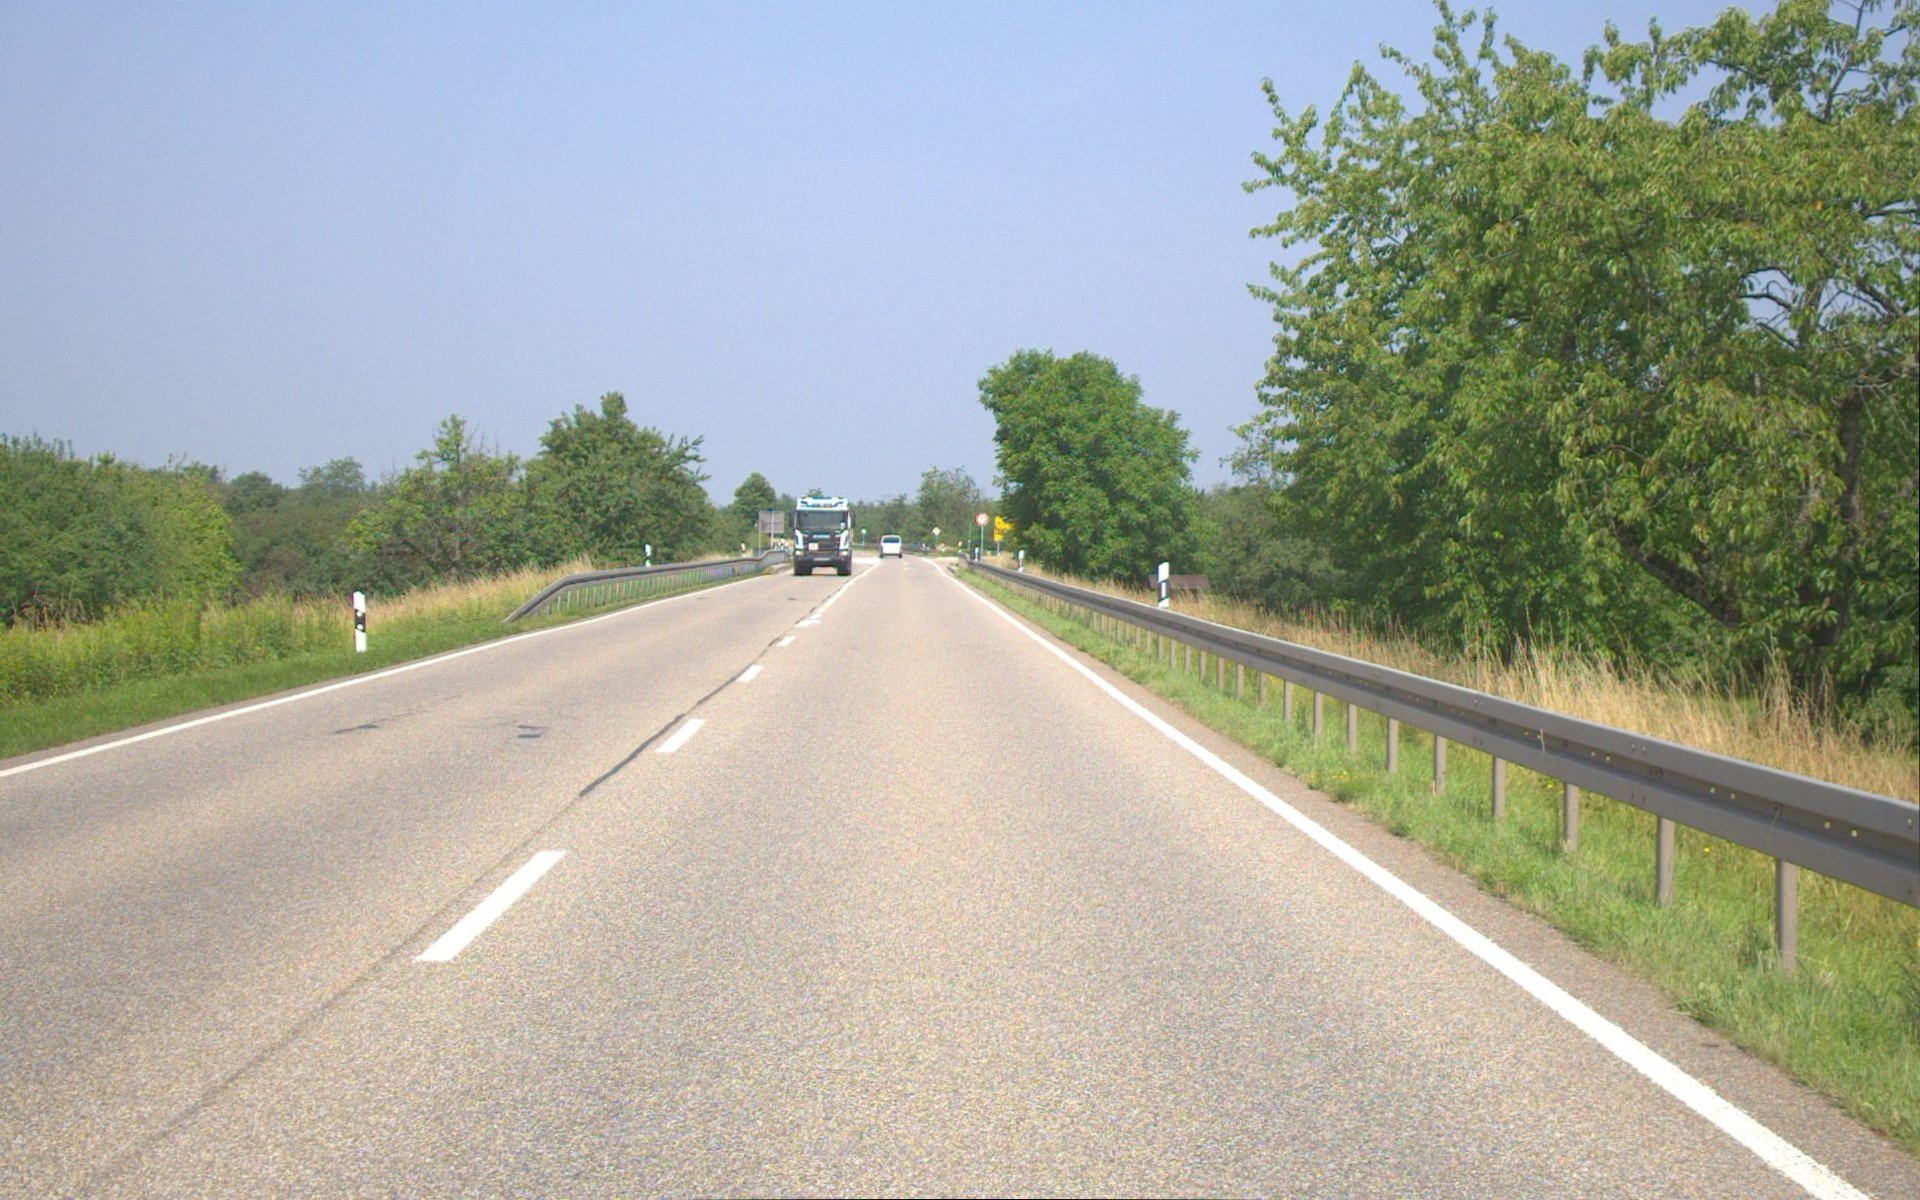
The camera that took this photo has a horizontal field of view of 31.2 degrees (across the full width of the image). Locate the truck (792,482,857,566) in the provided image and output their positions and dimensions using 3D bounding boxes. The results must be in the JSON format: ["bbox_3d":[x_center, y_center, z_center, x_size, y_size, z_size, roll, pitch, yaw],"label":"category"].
[{"bbox_3d":[-6.112,-3.419,156.614,2.728,3.659,9.384,1,0,-1],"label":"truck"}]
